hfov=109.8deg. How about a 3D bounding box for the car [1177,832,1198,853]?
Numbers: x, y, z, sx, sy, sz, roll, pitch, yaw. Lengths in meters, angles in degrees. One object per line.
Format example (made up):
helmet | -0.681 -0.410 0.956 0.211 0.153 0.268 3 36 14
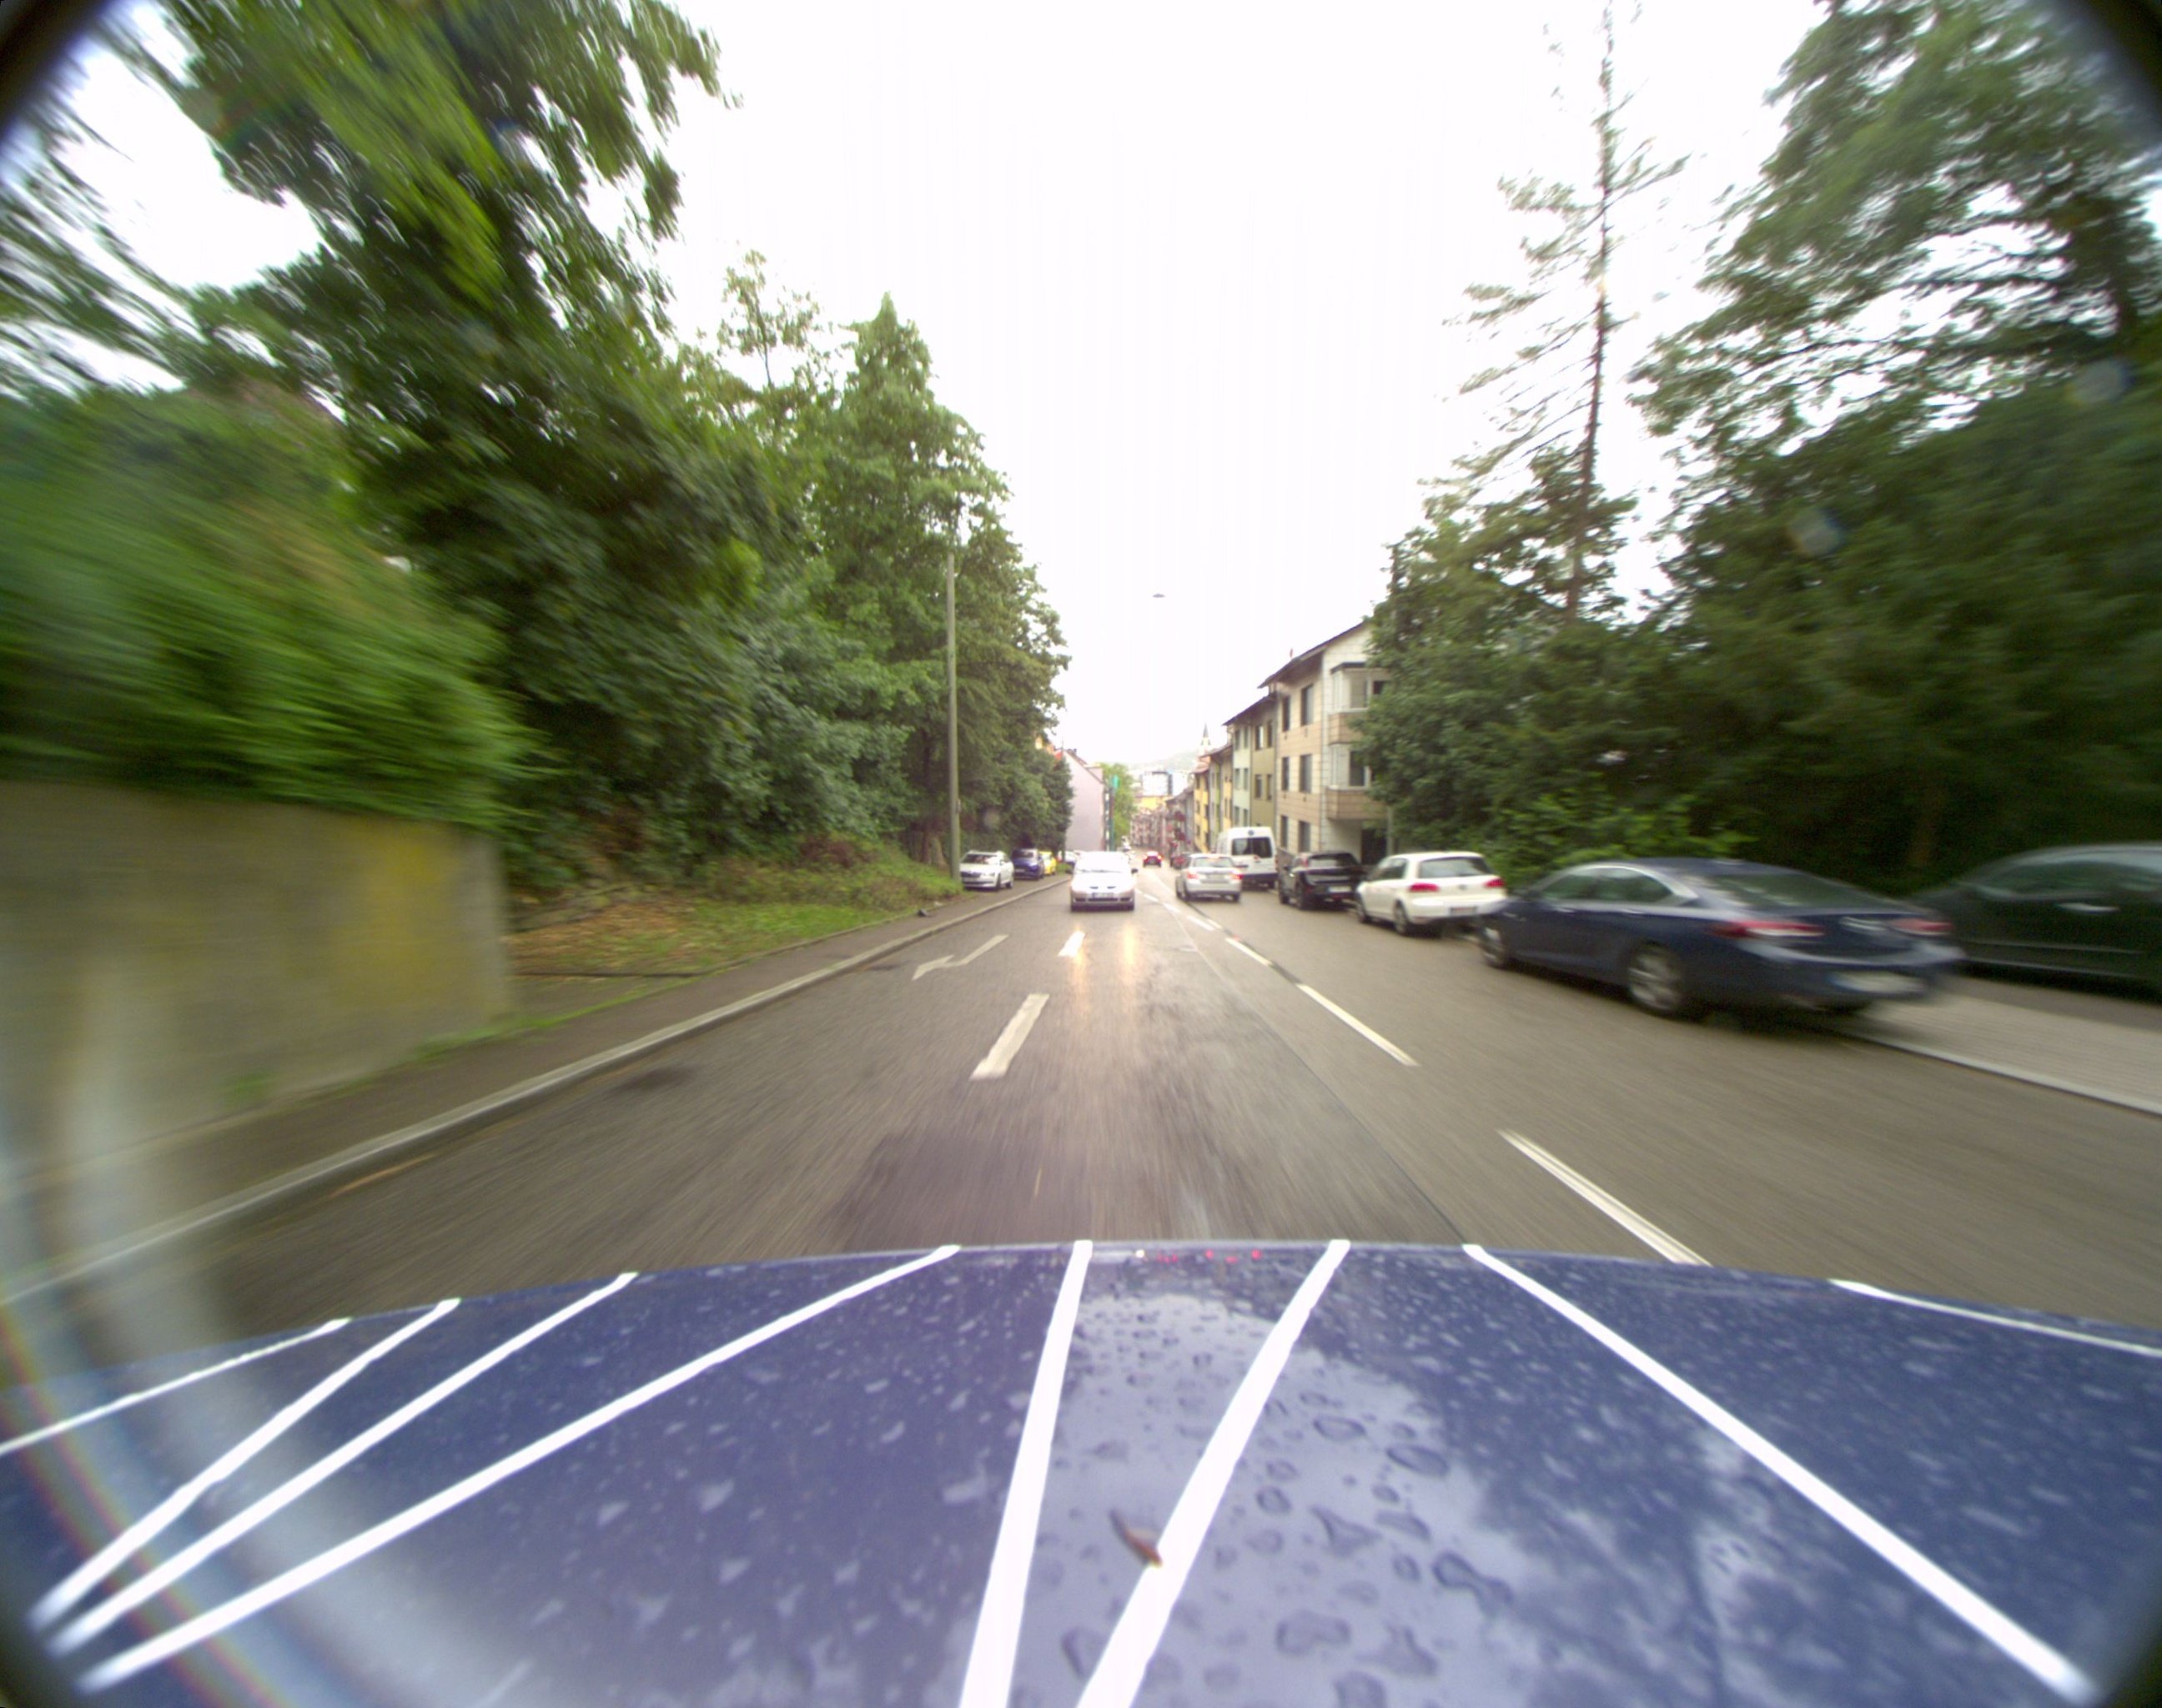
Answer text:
car | 13.536 -1.454 96.982 2.122 2.536 5.445 2 1 4

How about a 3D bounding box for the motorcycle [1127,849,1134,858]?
motorcycle | 6.450 -0.030 98.473 0.778 1.120 2.300 -2 1 6

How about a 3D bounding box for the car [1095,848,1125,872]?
car | 2.070 0.406 53.477 1.998 1.603 3.967 -1 1 3

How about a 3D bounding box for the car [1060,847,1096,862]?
car | -0.384 0.047 93.025 4.192 1.635 1.803 3 2 4

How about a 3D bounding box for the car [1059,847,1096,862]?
car | -0.426 0.086 90.534 4.192 1.565 1.804 3 1 4

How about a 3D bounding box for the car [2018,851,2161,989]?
car | 12.309 0.714 7.452 1.625 1.450 3.775 0 1 2

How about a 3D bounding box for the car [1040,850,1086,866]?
car | -1.651 0.384 71.215 4.192 1.408 1.804 1 1 4

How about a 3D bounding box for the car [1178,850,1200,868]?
car | 9.846 0.399 69.509 1.687 1.584 4.056 1 1 4

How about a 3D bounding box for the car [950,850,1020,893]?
car | -3.637 0.612 29.643 1.742 1.469 4.741 2 1 5

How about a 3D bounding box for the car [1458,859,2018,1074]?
car | 6.170 0.875 8.156 1.864 1.485 4.755 3 1 1

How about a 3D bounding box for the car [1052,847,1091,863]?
car | -1.063 0.075 85.718 4.192 1.565 1.804 3 1 4

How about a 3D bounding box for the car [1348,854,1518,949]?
car | 6.591 0.783 14.748 1.659 1.560 4.149 0 0 5

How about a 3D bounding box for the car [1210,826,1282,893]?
car | 6.872 0.191 32.221 2.122 2.536 5.445 2 1 4

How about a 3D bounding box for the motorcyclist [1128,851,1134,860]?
motorcyclist | 6.460 0.142 98.454 0.778 1.120 0.549 -2 1 6

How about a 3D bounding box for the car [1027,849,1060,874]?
car | -2.316 0.449 47.962 1.567 1.459 3.899 2 1 5

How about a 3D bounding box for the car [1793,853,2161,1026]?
car | 10.232 0.742 7.841 1.726 1.450 4.396 0 1 2

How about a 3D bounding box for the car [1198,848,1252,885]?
car | 7.327 0.593 39.086 1.970 1.729 4.885 2 1 2

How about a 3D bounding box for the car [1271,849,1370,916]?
car | 6.501 0.705 21.033 1.648 1.595 4.186 2 1 4

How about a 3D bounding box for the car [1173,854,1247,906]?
car | 4.009 0.760 24.173 1.729 1.427 3.912 2 0 1

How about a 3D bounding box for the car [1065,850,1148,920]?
car | 0.783 0.744 20.158 1.825 1.603 4.190 -1 1 7

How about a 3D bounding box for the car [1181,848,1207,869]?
car | 9.206 0.345 62.076 1.696 1.584 4.000 1 1 3

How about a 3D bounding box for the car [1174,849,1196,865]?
car | 10.511 0.267 76.771 1.908 1.528 4.001 1 1 4

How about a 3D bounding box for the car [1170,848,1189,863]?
car | 11.142 0.162 86.201 1.908 1.647 4.329 1 1 4

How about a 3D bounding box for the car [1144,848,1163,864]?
car | 7.704 0.204 81.503 1.940 1.615 4.500 0 1 4

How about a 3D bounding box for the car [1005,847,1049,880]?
car | -2.793 0.470 40.299 1.769 1.614 4.679 0 1 3

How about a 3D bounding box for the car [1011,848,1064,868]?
car | -3.624 0.297 63.338 4.192 1.584 1.804 -1 1 4
